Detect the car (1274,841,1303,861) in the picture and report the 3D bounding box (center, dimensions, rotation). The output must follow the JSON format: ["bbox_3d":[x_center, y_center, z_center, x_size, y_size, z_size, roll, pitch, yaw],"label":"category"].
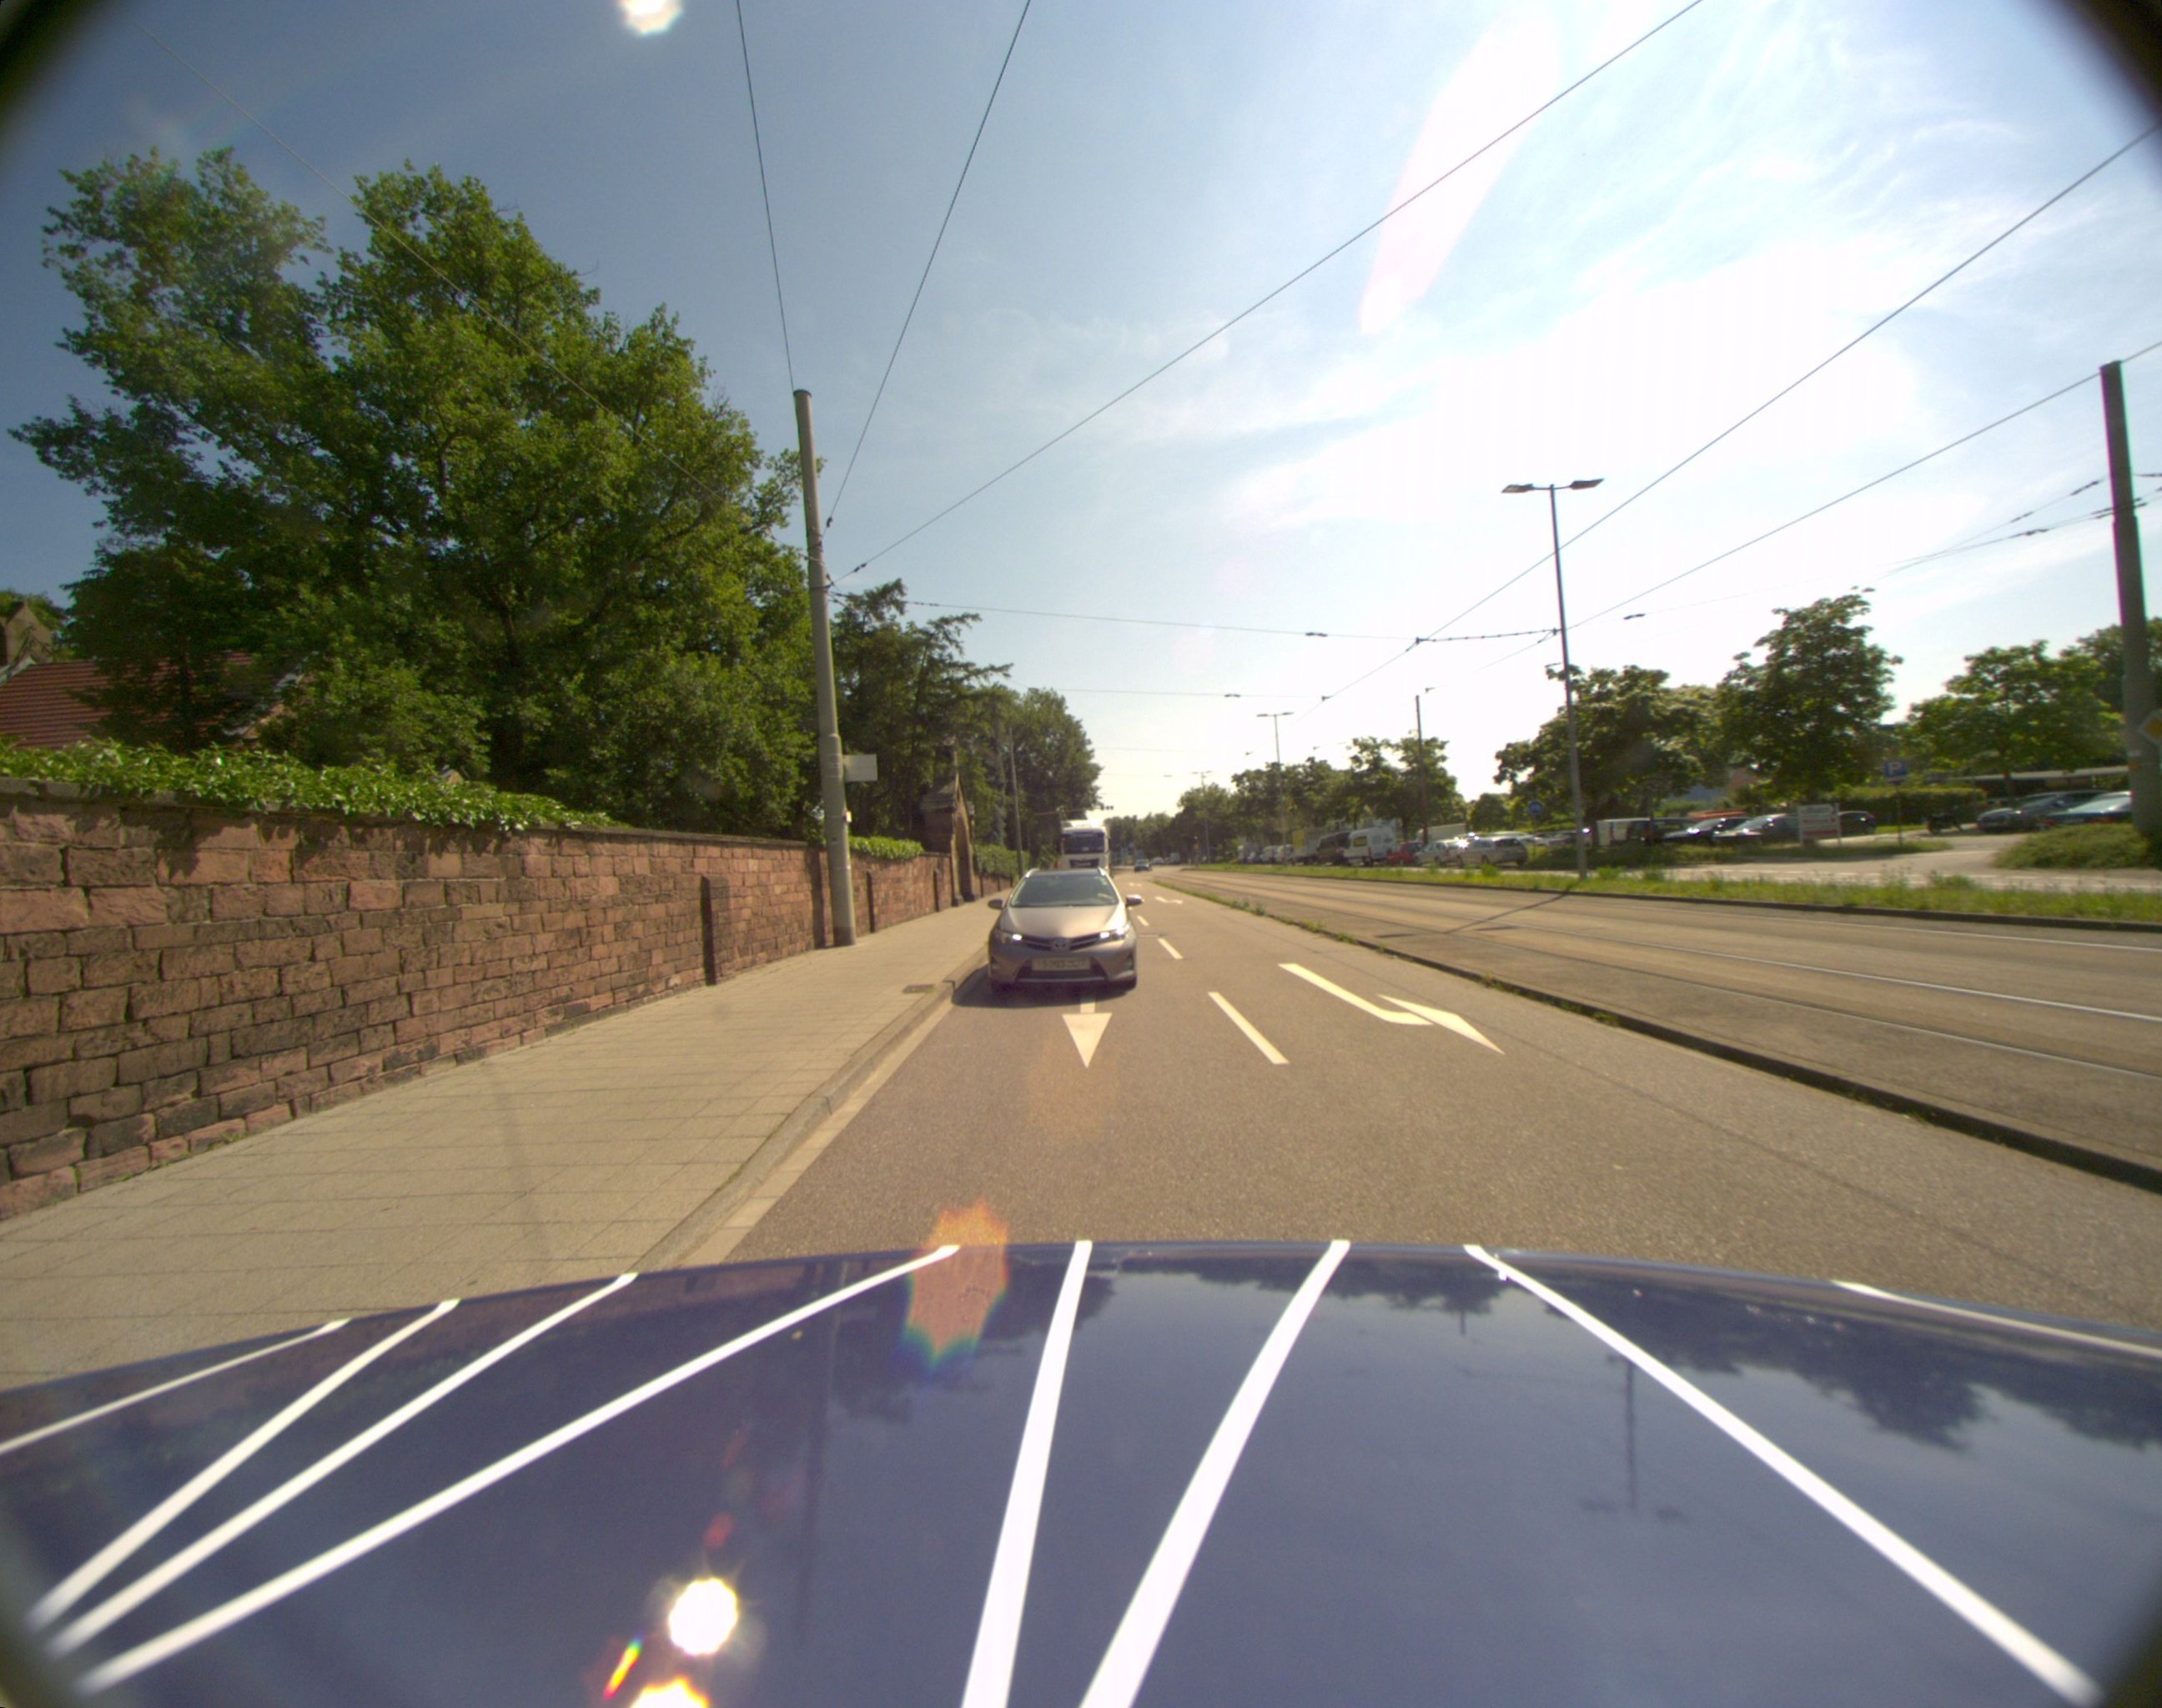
[{"bbox_3d":[20.884,-0.329,76.707,1.502,1.793,4.634,-7,0,1],"label":"car"}]

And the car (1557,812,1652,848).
[{"bbox_3d":[30.605,-1.373,44.504,4.117,1.727,1.990,-4,0,-2],"label":"car"}]

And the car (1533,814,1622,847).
[{"bbox_3d":[30.670,-1.424,47.011,4.117,1.727,1.990,-4,0,-2],"label":"car"}]

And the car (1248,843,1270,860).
[{"bbox_3d":[20.913,-0.239,89.482,1.502,1.775,3.687,-7,0,0],"label":"car"}]

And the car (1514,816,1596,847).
[{"bbox_3d":[31.331,-1.461,50.341,4.117,1.727,1.990,-4,0,-2],"label":"car"}]

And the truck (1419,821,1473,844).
[{"bbox_3d":[45.244,-2.669,94.323,5.652,2.367,1.990,-4,0,-2],"label":"truck"}]

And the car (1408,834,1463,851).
[{"bbox_3d":[32.508,-1.045,69.754,4.253,1.327,1.676,-4,0,2],"label":"car"}]

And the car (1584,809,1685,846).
[{"bbox_3d":[30.707,-1.449,42.208,4.117,1.727,1.990,-4,0,-2],"label":"car"}]

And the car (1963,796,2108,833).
[{"bbox_3d":[43.278,-1.766,34.507,4.252,1.327,1.676,-4,0,3],"label":"car"}]

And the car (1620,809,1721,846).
[{"bbox_3d":[30.633,-1.359,39.547,3.810,1.625,1.676,-4,0,3],"label":"car"}]

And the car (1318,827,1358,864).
[{"bbox_3d":[20.008,-0.649,59.346,1.502,2.609,4.007,-7,0,1],"label":"car"}]

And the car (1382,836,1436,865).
[{"bbox_3d":[20.502,-0.190,47.674,1.675,1.524,3.793,-7,0,1],"label":"car"}]

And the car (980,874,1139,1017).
[{"bbox_3d":[-0.203,1.037,10.159,1.654,1.374,4.000,-2,0,1],"label":"car"}]

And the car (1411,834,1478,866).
[{"bbox_3d":[20.507,-0.186,43.049,1.675,1.524,4.257,-7,0,1],"label":"car"}]

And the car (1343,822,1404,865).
[{"bbox_3d":[20.345,-0.670,53.155,2.062,2.638,5.203,-7,0,1],"label":"car"}]

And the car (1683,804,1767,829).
[{"bbox_3d":[43.988,-2.573,51.958,4.253,1.327,1.676,-4,0,-1],"label":"car"}]

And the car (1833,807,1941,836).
[{"bbox_3d":[46.450,-1.856,43.865,4.252,1.327,1.676,-4,0,3],"label":"car"}]

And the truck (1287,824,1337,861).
[{"bbox_3d":[20.662,-1.008,68.266,2.508,2.917,5.904,-7,0,2],"label":"truck"}]

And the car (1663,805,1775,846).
[{"bbox_3d":[30.549,-1.337,36.479,3.810,1.625,1.676,-4,0,3],"label":"car"}]

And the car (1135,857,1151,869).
[{"bbox_3d":[7.427,1.039,90.968,1.654,1.374,4.000,-2,0,1],"label":"car"}]

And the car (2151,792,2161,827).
[{"bbox_3d":[43.789,-1.861,28.648,4.252,1.327,1.676,-4,0,3],"label":"car"}]

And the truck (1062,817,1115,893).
[{"bbox_3d":[0.507,0.030,44.793,2.628,3.905,9.286,-2,0,1],"label":"truck"}]

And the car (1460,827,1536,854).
[{"bbox_3d":[31.303,-0.968,57.240,2.594,1.800,5.741,-4,0,2],"label":"car"}]

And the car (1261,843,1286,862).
[{"bbox_3d":[21.122,-0.181,83.387,1.502,1.834,4.059,-7,0,0],"label":"car"}]

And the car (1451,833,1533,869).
[{"bbox_3d":[20.246,-0.135,37.684,1.675,1.524,4.257,-7,0,1],"label":"car"}]

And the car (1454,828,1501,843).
[{"bbox_3d":[43.987,-2.028,84.353,4.253,1.327,1.676,-4,0,2],"label":"car"}]
